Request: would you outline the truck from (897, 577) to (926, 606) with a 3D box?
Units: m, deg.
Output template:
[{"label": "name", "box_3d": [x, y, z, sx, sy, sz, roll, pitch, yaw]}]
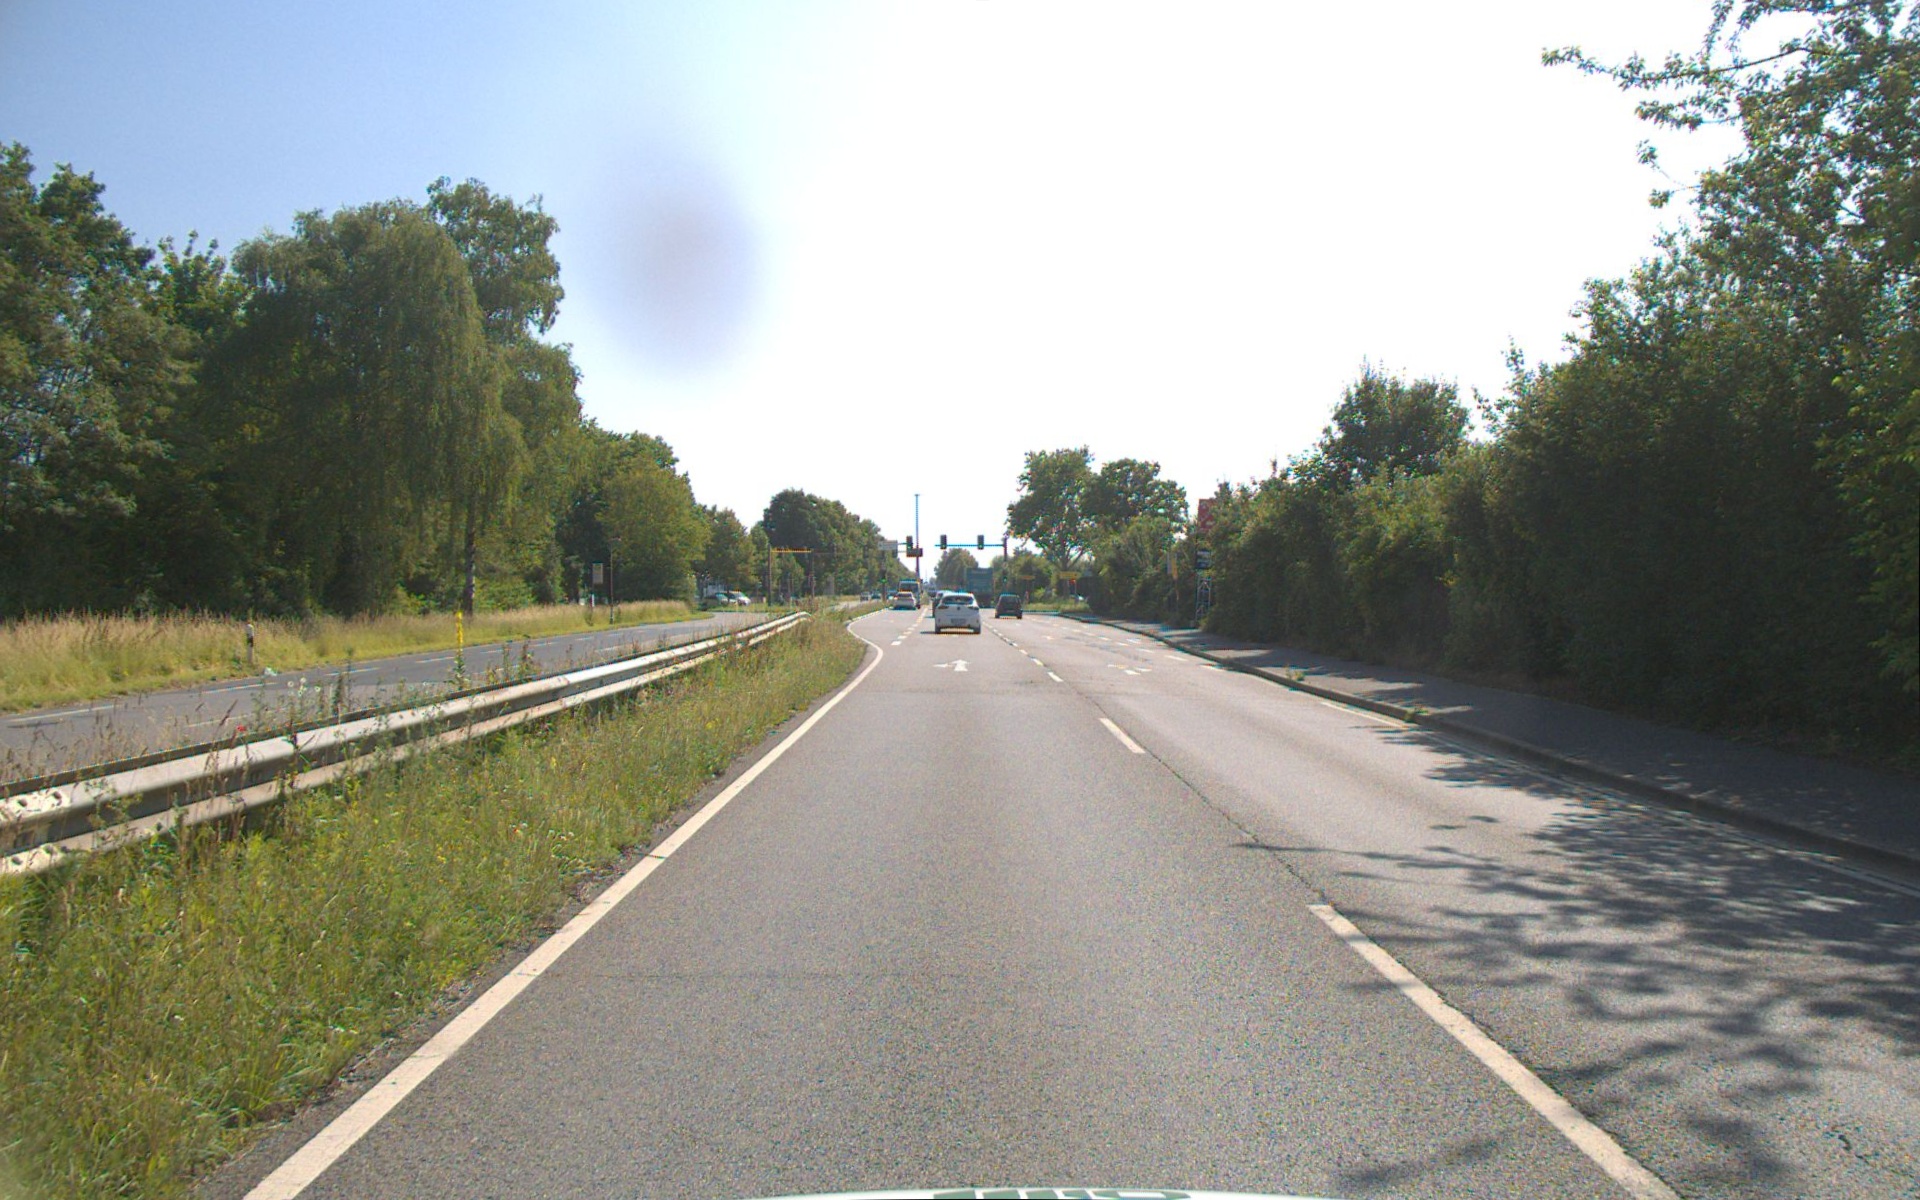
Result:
[{"label": "truck", "box_3d": [-4.233, -0.736, 145.190, 2.325, 2.430, 6.041, 2, 1, 0]}]

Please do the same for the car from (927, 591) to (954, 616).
[{"label": "car", "box_3d": [-1.133, 0.222, 98.243, 1.540, 1.439, 3.276, 1, -1, -1]}]

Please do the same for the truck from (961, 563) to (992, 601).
[{"label": "truck", "box_3d": [1.556, -1.740, 160.867, 2.833, 3.488, 9.168, -1, 0, -1]}]

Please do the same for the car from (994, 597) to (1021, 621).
[{"label": "car", "box_3d": [2.885, 0.557, 101.765, 1.540, 1.439, 3.277, 0, 0, -1]}]

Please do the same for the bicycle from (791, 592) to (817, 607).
[{"label": "bicycle", "box_3d": [-17.718, -0.033, 188.087, 2.737, 1.699, 1.135, 0, 0, 27]}]

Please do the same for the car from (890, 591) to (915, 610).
[{"label": "car", "box_3d": [-4.723, 0.059, 137.104, 1.775, 1.490, 4.971, 1, 0, 1]}]

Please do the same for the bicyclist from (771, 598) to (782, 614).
[{"label": "bicyclist", "box_3d": [-17.458, 0.566, 157.398, 0.829, 1.544, 0.747, 0, 0, 4]}]

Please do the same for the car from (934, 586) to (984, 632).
[{"label": "car", "box_3d": [-0.043, 0.307, 60.752, 1.762, 1.580, 4.000, 1, 1, 0]}]
